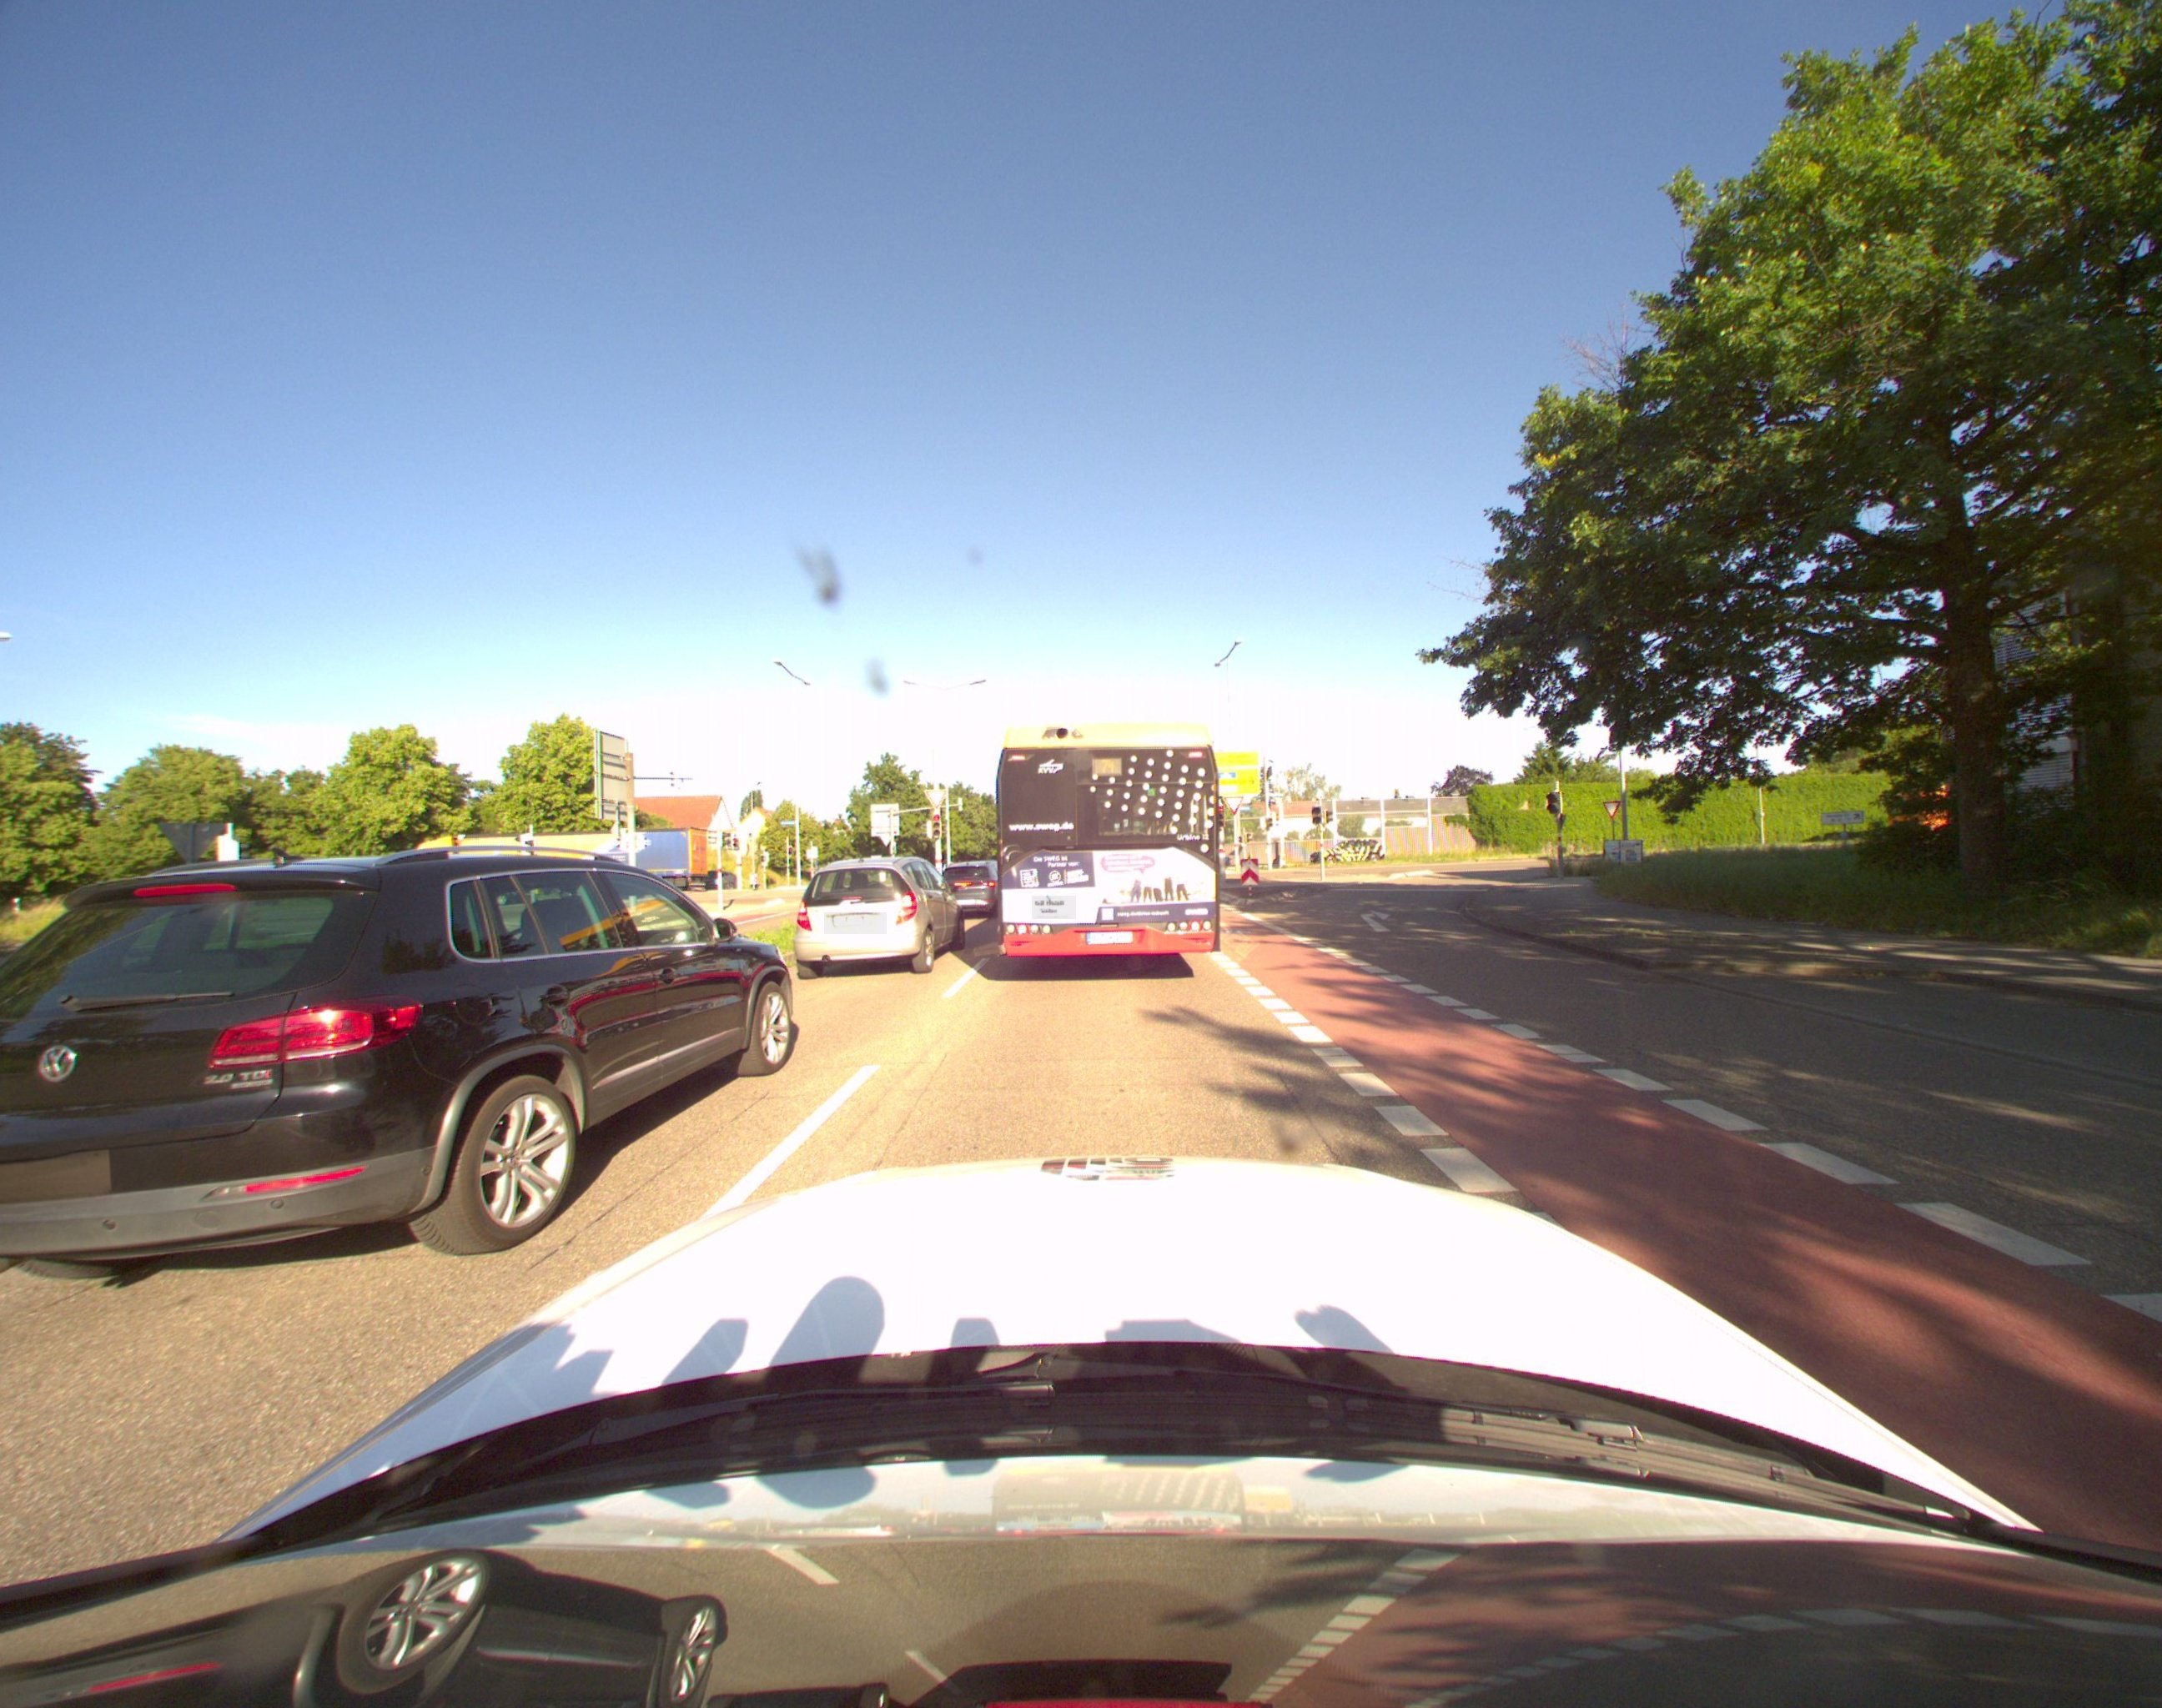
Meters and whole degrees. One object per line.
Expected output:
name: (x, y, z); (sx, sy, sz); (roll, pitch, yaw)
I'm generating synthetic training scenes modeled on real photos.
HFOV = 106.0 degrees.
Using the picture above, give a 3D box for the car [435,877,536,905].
car: (-29.974, 1.845, 41.066); (3.842, 1.313, 1.504); (-1, -1, -7)

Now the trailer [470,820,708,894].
trailer: (-30.272, 0.158, 50.525); (12.712, 4.030, 2.466); (-2, 0, -5)

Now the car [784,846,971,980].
car: (-2.870, 0.731, 12.405); (1.748, 1.620, 4.034); (-2, 1, 0)

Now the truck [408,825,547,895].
truck: (-36.860, 0.341, 49.905); (6.387, 3.998, 2.468); (-2, 0, -5)

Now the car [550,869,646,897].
car: (-24.668, 1.463, 41.699); (3.842, 1.385, 1.678); (-1, -1, -7)

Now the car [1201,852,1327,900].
car: (5.382, 0.639, 24.186); (3.500, 1.302, 1.579); (-1, 1, 10)

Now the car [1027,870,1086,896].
car: (-1.716, 1.982, 56.312); (3.979, 1.612, 1.693); (-2, 0, -4)

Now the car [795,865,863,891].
car: (-16.829, 1.589, 54.489); (3.979, 1.612, 1.693); (-2, 0, -4)

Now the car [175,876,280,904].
car: (-47.800, 2.006, 45.683); (3.980, 1.442, 1.563); (-1, -1, -5)

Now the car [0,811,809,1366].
car: (-3.182, 0.785, 4.555); (1.814, 1.673, 4.004); (-3, -1, 1)

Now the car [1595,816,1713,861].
car: (17.855, -0.464, 25.377); (3.412, 1.296, 1.449); (0, -1, -24)

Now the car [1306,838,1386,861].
car: (15.465, -0.248, 47.586); (4.148, 1.302, 1.573); (-1, -1, -2)

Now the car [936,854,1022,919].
car: (-2.558, 0.805, 21.207); (1.582, 1.486, 3.684); (-2, -1, 2)

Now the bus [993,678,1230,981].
bus: (0.529, -0.264, 15.030); (2.586, 3.334, 11.988); (-1, 0, 2)
